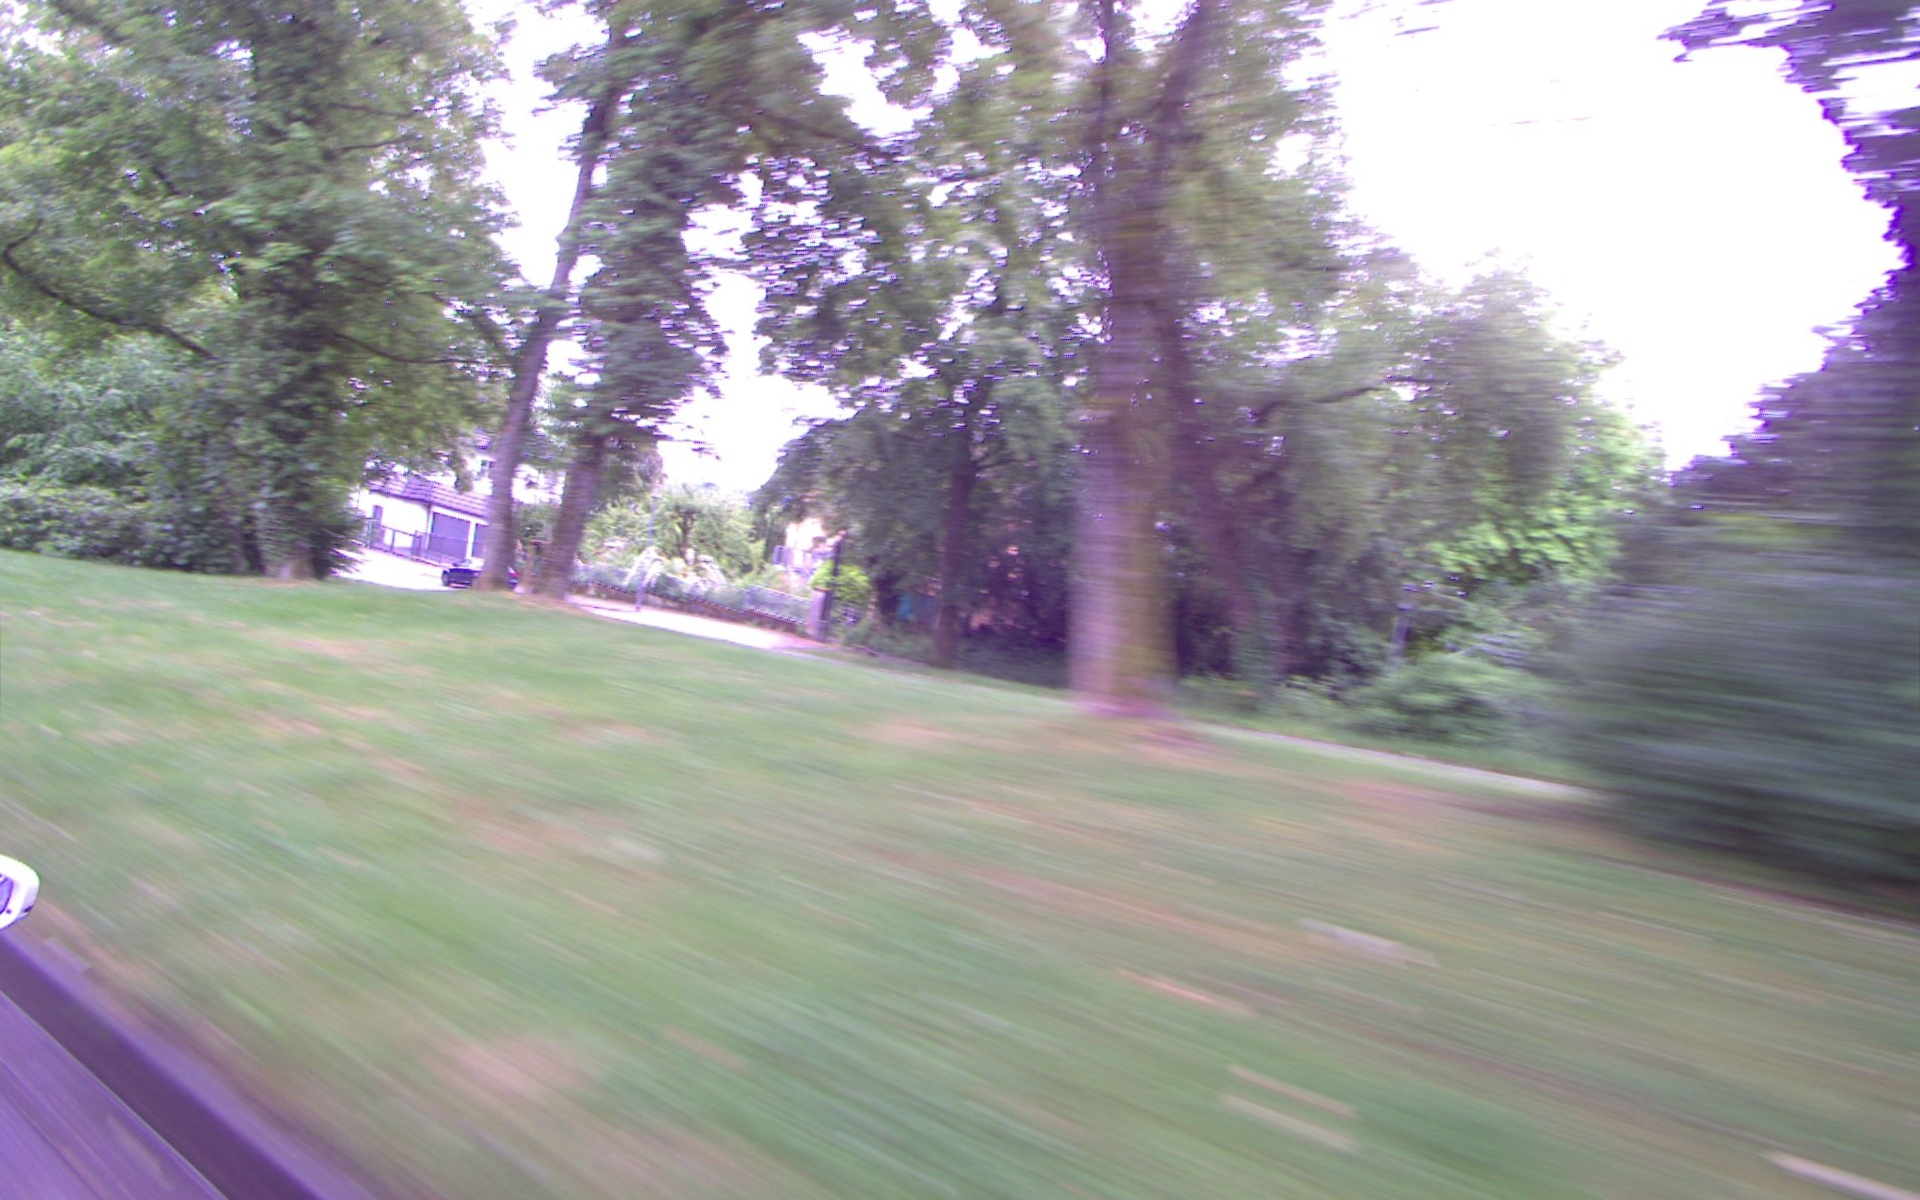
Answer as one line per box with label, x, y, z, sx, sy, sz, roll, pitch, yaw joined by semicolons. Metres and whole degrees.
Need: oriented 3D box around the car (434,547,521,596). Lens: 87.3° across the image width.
car;-21.259;-1.258;44.263;3.941;1.651;1.807;7;0;39
